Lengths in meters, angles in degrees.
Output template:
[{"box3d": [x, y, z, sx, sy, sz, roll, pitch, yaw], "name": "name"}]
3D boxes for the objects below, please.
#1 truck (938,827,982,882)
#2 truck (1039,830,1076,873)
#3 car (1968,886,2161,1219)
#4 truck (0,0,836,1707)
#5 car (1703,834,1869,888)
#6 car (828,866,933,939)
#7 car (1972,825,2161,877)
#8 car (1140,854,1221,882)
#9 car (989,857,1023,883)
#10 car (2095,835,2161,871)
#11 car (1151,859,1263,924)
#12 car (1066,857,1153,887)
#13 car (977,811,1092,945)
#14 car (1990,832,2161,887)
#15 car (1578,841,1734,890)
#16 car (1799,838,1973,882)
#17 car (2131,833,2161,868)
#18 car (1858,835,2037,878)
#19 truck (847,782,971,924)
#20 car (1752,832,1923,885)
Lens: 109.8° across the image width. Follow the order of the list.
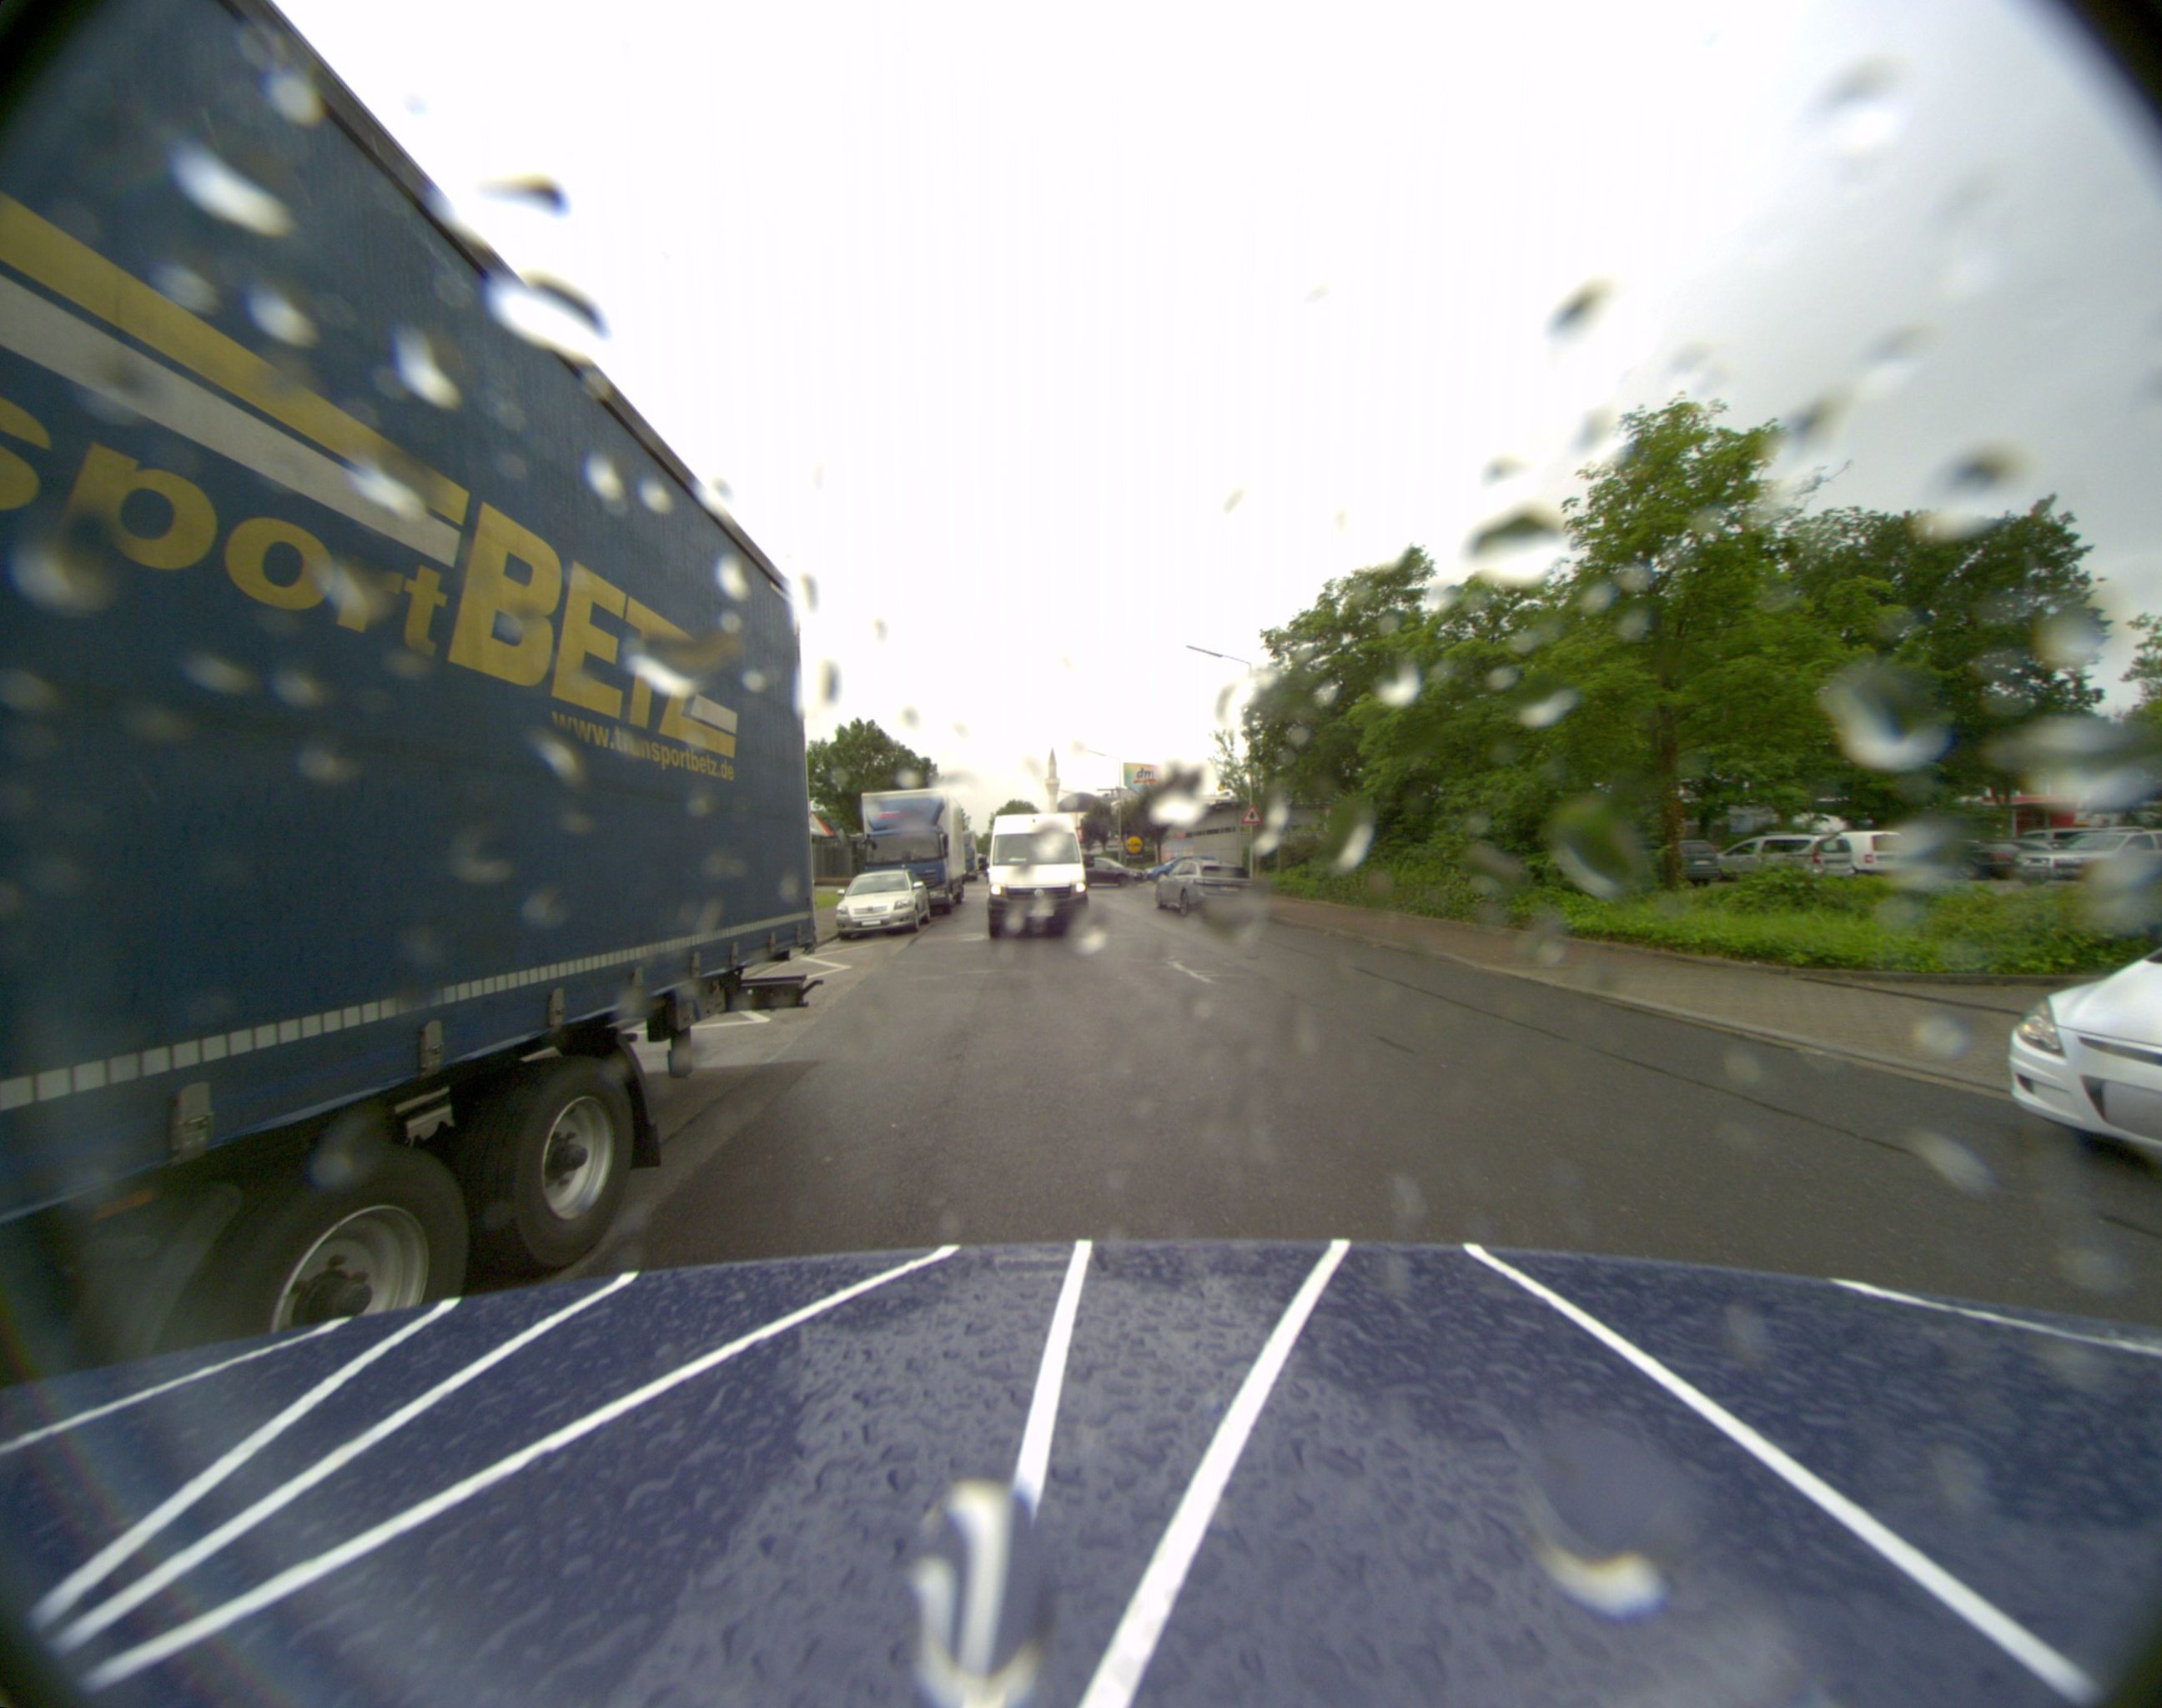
[{"box3d": [-8.990, 0.014, 57.202, 2.680, 3.671, 8.004, -4, 1, -7], "name": "truck"}, {"box3d": [-2.260, -0.259, 70.513, 2.890, 3.724, 7.863, -1, 0, -6], "name": "truck"}, {"box3d": [7.046, 0.881, 3.622, 4.204, 1.451, 1.711, -2, 1, -9], "name": "car"}, {"box3d": [-3.298, -0.024, 2.399, 2.749, 3.590, 7.746, -4, 1, -4], "name": "truck"}, {"box3d": [25.407, 0.219, 27.584, 2.001, 1.783, 3.995, -1, 0, -12], "name": "car"}, {"box3d": [-4.651, 1.044, 18.211, 1.803, 1.433, 4.342, -1, 0, -7], "name": "car"}, {"box3d": [37.600, -0.120, 29.116, 2.001, 1.805, 3.995, -1, 0, -12], "name": "car"}, {"box3d": [5.283, 0.716, 40.741, 3.999, 1.432, 1.735, 0, 0, -7], "name": "car"}, {"box3d": [-4.948, 1.008, 49.559, 2.000, 1.555, 3.997, -1, 0, -9], "name": "car"}, {"box3d": [44.886, -0.066, 30.842, 2.001, 1.477, 3.995, -1, 0, -12], "name": "car"}, {"box3d": [3.411, 0.974, 21.587, 1.815, 1.519, 4.744, 3, 0, -7], "name": "car"}, {"box3d": [1.413, 0.863, 37.901, 3.991, 1.432, 1.739, 0, 0, 18], "name": "car"}, {"box3d": [-1.000, 0.448, 16.902, 2.085, 2.466, 5.345, -1, 0, -3], "name": "car"}, {"box3d": [31.045, 0.156, 23.194, 4.292, 1.541, 2.026, -1, 0, -2], "name": "car"}, {"box3d": [20.063, 0.386, 26.732, 2.001, 1.565, 3.995, -1, 0, -15], "name": "car"}, {"box3d": [29.848, 0.196, 28.363, 2.001, 1.477, 3.995, -1, 0, -12], "name": "car"}, {"box3d": [47.443, -0.162, 31.578, 2.001, 1.477, 3.995, -1, 0, -12], "name": "car"}, {"box3d": [32.593, 0.099, 28.755, 2.001, 1.477, 3.995, -1, 0, -12], "name": "car"}, {"box3d": [-5.408, -0.041, 25.589, 2.749, 3.767, 9.293, -4, 1, -6], "name": "truck"}, {"box3d": [27.505, 0.151, 27.820, 2.001, 1.783, 3.995, -1, 0, -12], "name": "car"}]
